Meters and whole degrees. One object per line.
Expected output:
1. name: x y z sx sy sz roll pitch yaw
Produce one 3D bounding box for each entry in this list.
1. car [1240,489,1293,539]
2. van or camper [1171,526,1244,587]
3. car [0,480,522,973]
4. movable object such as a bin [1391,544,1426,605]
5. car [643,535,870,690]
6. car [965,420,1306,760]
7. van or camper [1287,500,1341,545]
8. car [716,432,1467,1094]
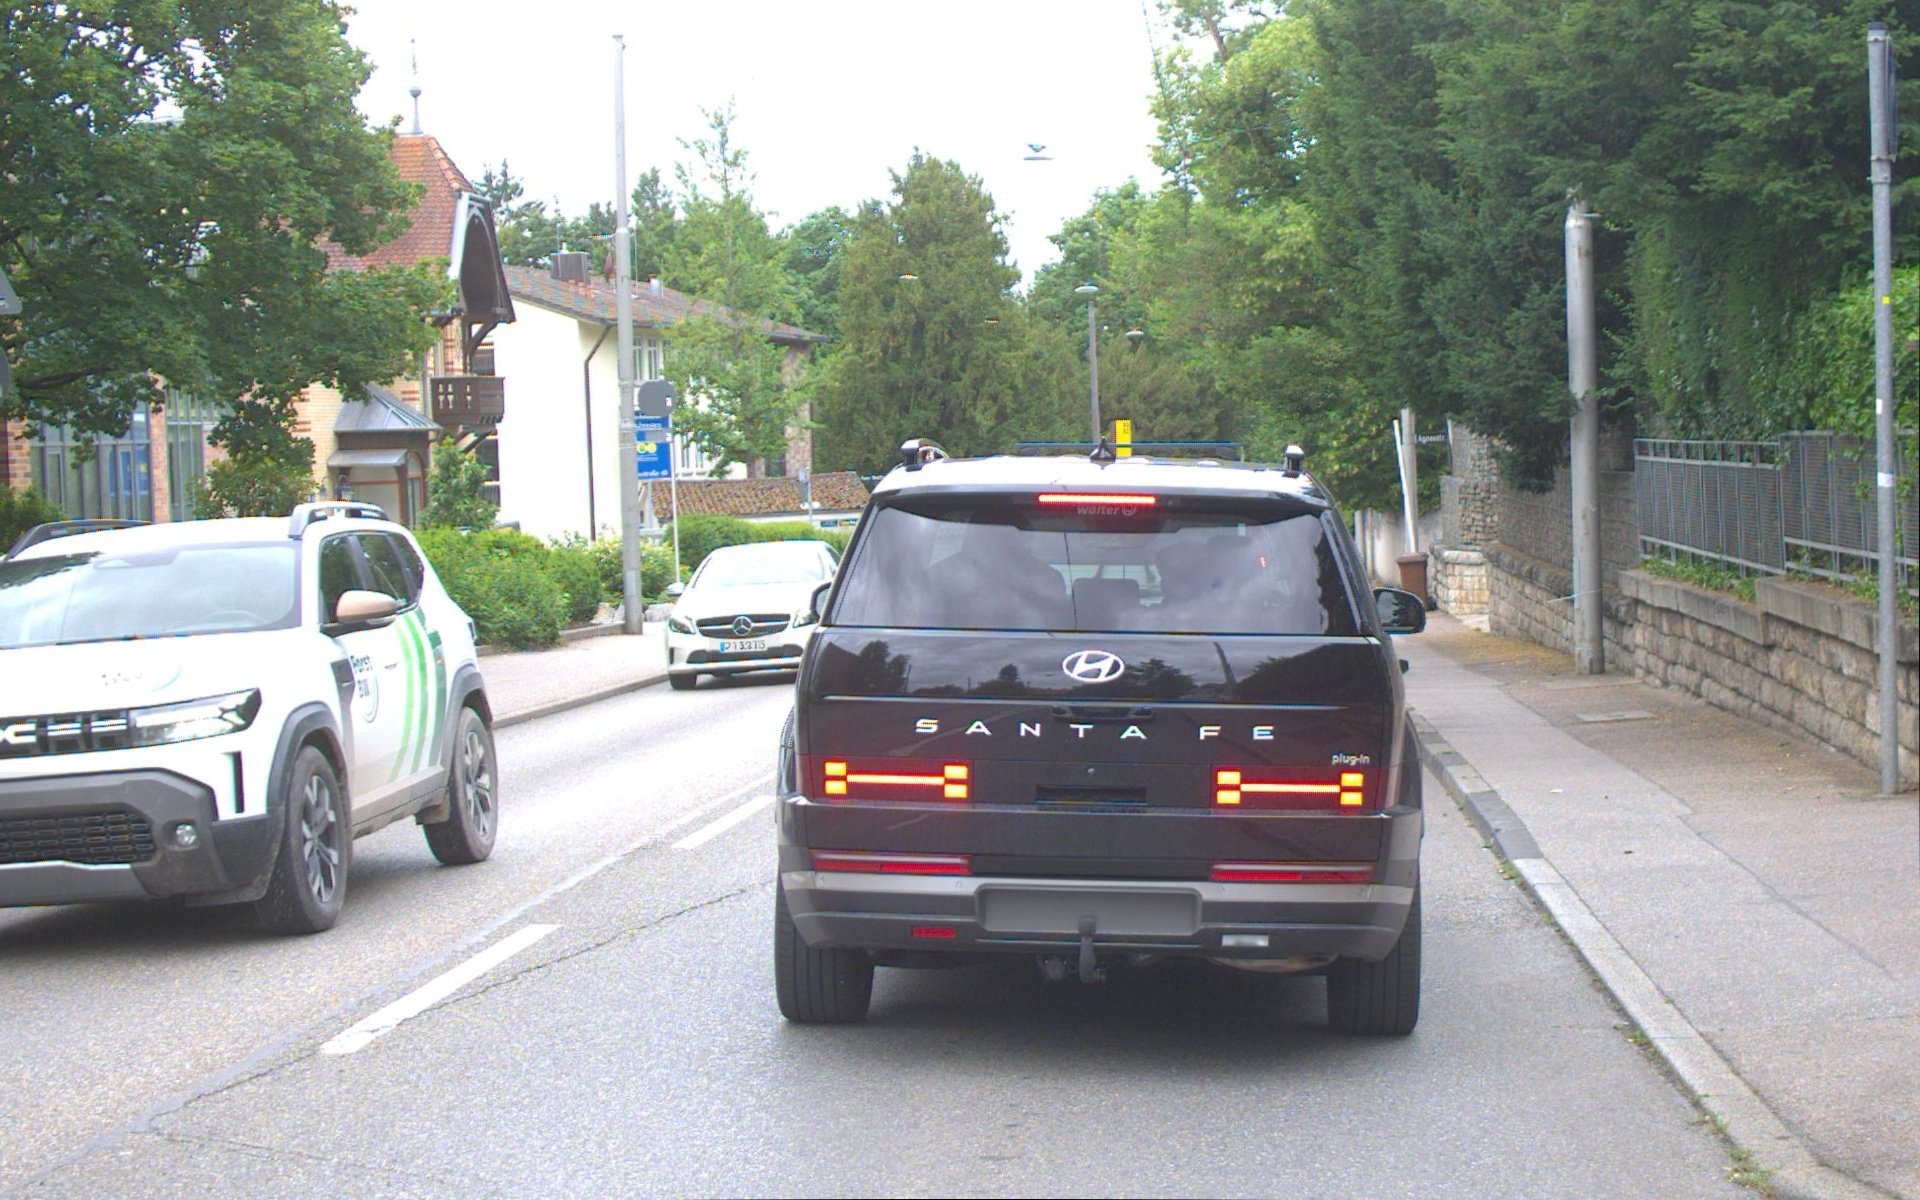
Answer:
1. car: 10.603 -2.957 118.781 1.645 1.555 3.649 -1 -1 8
2. van or camper: 7.312 -1.299 101.348 1.994 1.646 3.999 -2 1 5
3. car: -3.151 0.417 13.984 1.769 1.632 4.301 -4 1 4
4. movable object such as a bin: 6.916 -0.391 52.990 0.445 0.906 0.394 -3 2 15
5. car: -2.050 0.084 35.813 1.766 1.417 4.065 -3 1 4
6. car: 1.129 -0.034 22.690 1.957 1.949 4.223 3 -1 2
7. van or camper: 13.871 -3.036 134.813 1.994 1.646 3.999 -2 1 5
8. car: 0.514 0.364 11.210 1.957 1.707 4.223 1 2 5
